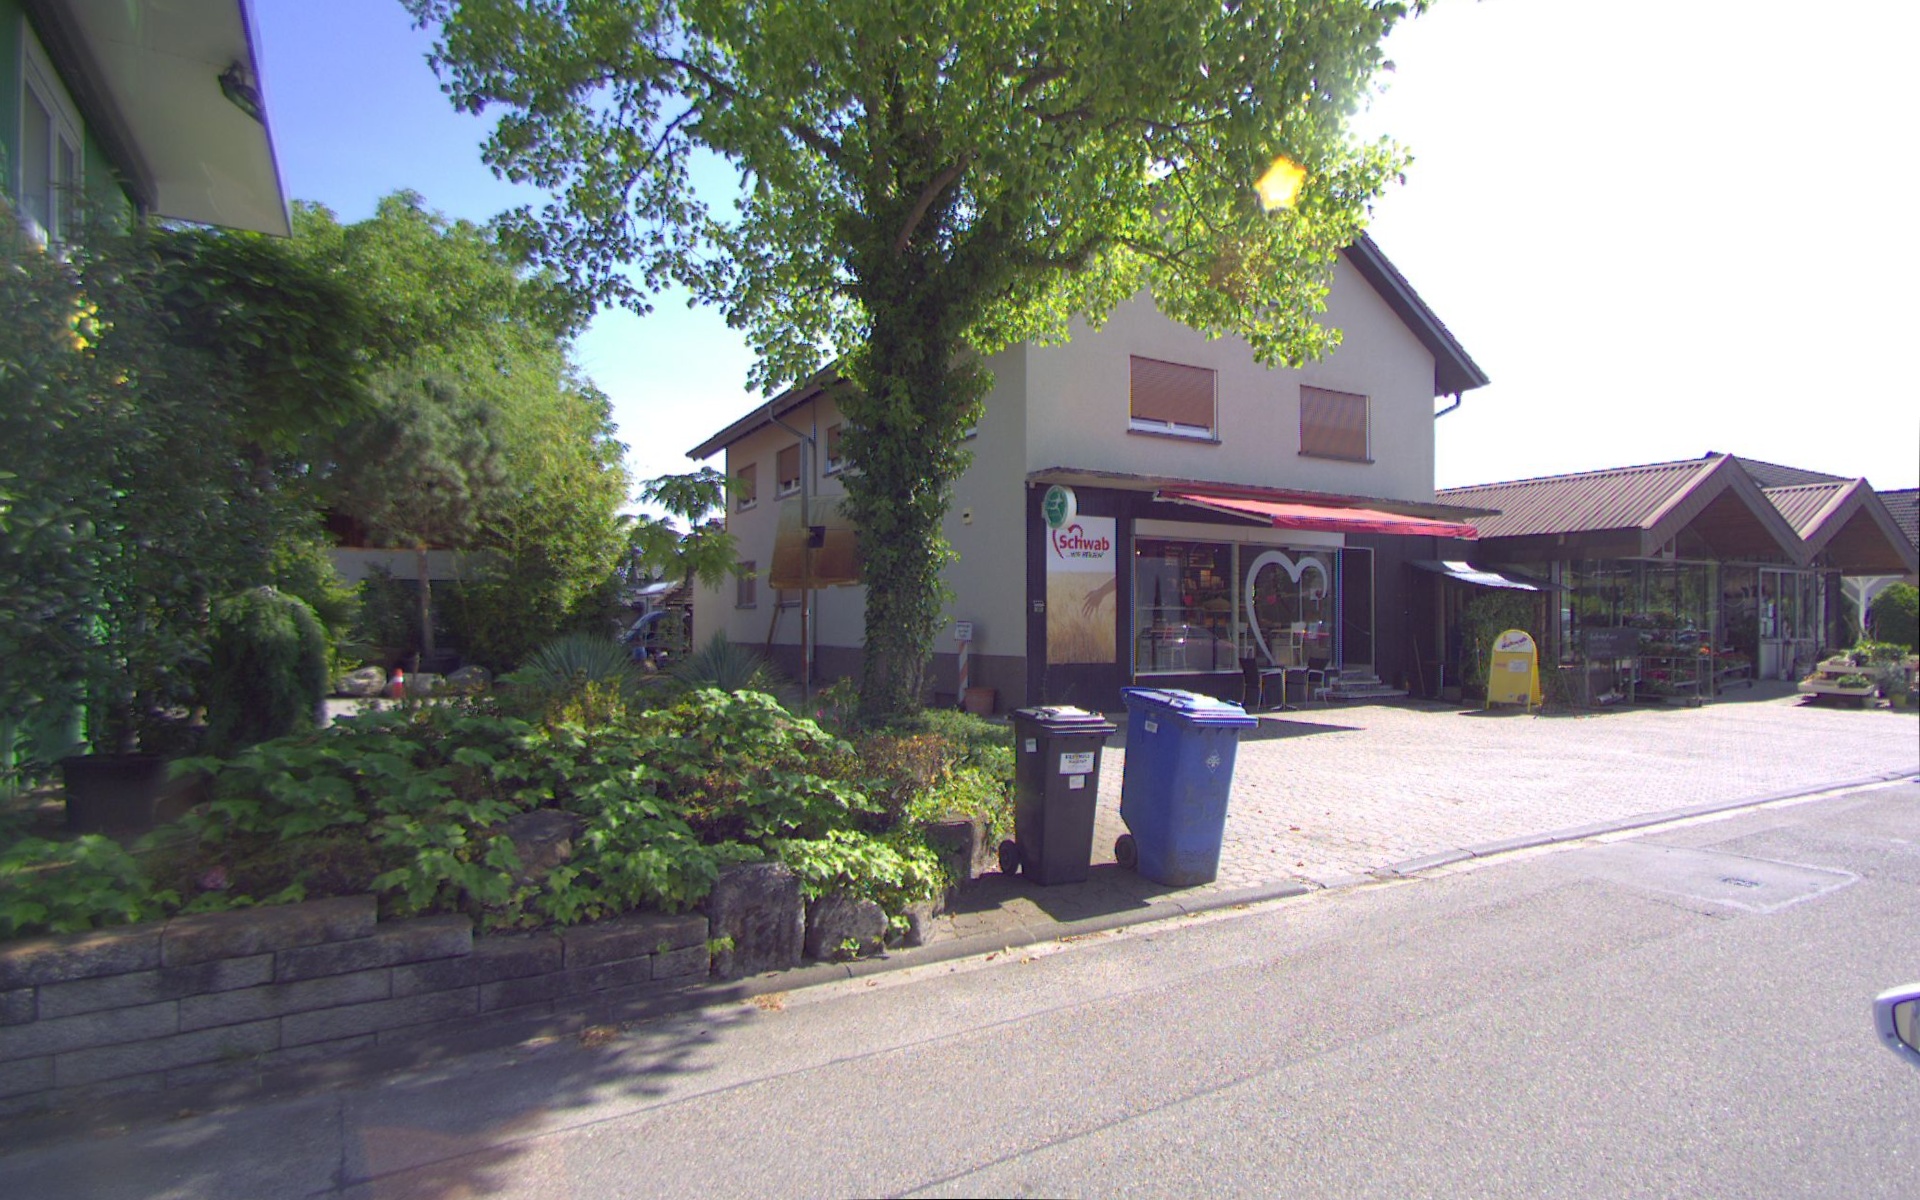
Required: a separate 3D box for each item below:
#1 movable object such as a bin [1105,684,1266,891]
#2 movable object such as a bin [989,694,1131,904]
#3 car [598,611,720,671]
[{"bbox_3d":[1.336,1.072,6.013,0.605,1.068,0.727,1,0,-30],"label":"movable object such as a bin"},{"bbox_3d":[0.561,1.087,5.691,0.561,1.038,0.580,1,0,-31],"label":"movable object such as a bin"},{"bbox_3d":[-12.787,1.707,42.733,4.598,2.441,2.176,1,-2,-32],"label":"car"}]
